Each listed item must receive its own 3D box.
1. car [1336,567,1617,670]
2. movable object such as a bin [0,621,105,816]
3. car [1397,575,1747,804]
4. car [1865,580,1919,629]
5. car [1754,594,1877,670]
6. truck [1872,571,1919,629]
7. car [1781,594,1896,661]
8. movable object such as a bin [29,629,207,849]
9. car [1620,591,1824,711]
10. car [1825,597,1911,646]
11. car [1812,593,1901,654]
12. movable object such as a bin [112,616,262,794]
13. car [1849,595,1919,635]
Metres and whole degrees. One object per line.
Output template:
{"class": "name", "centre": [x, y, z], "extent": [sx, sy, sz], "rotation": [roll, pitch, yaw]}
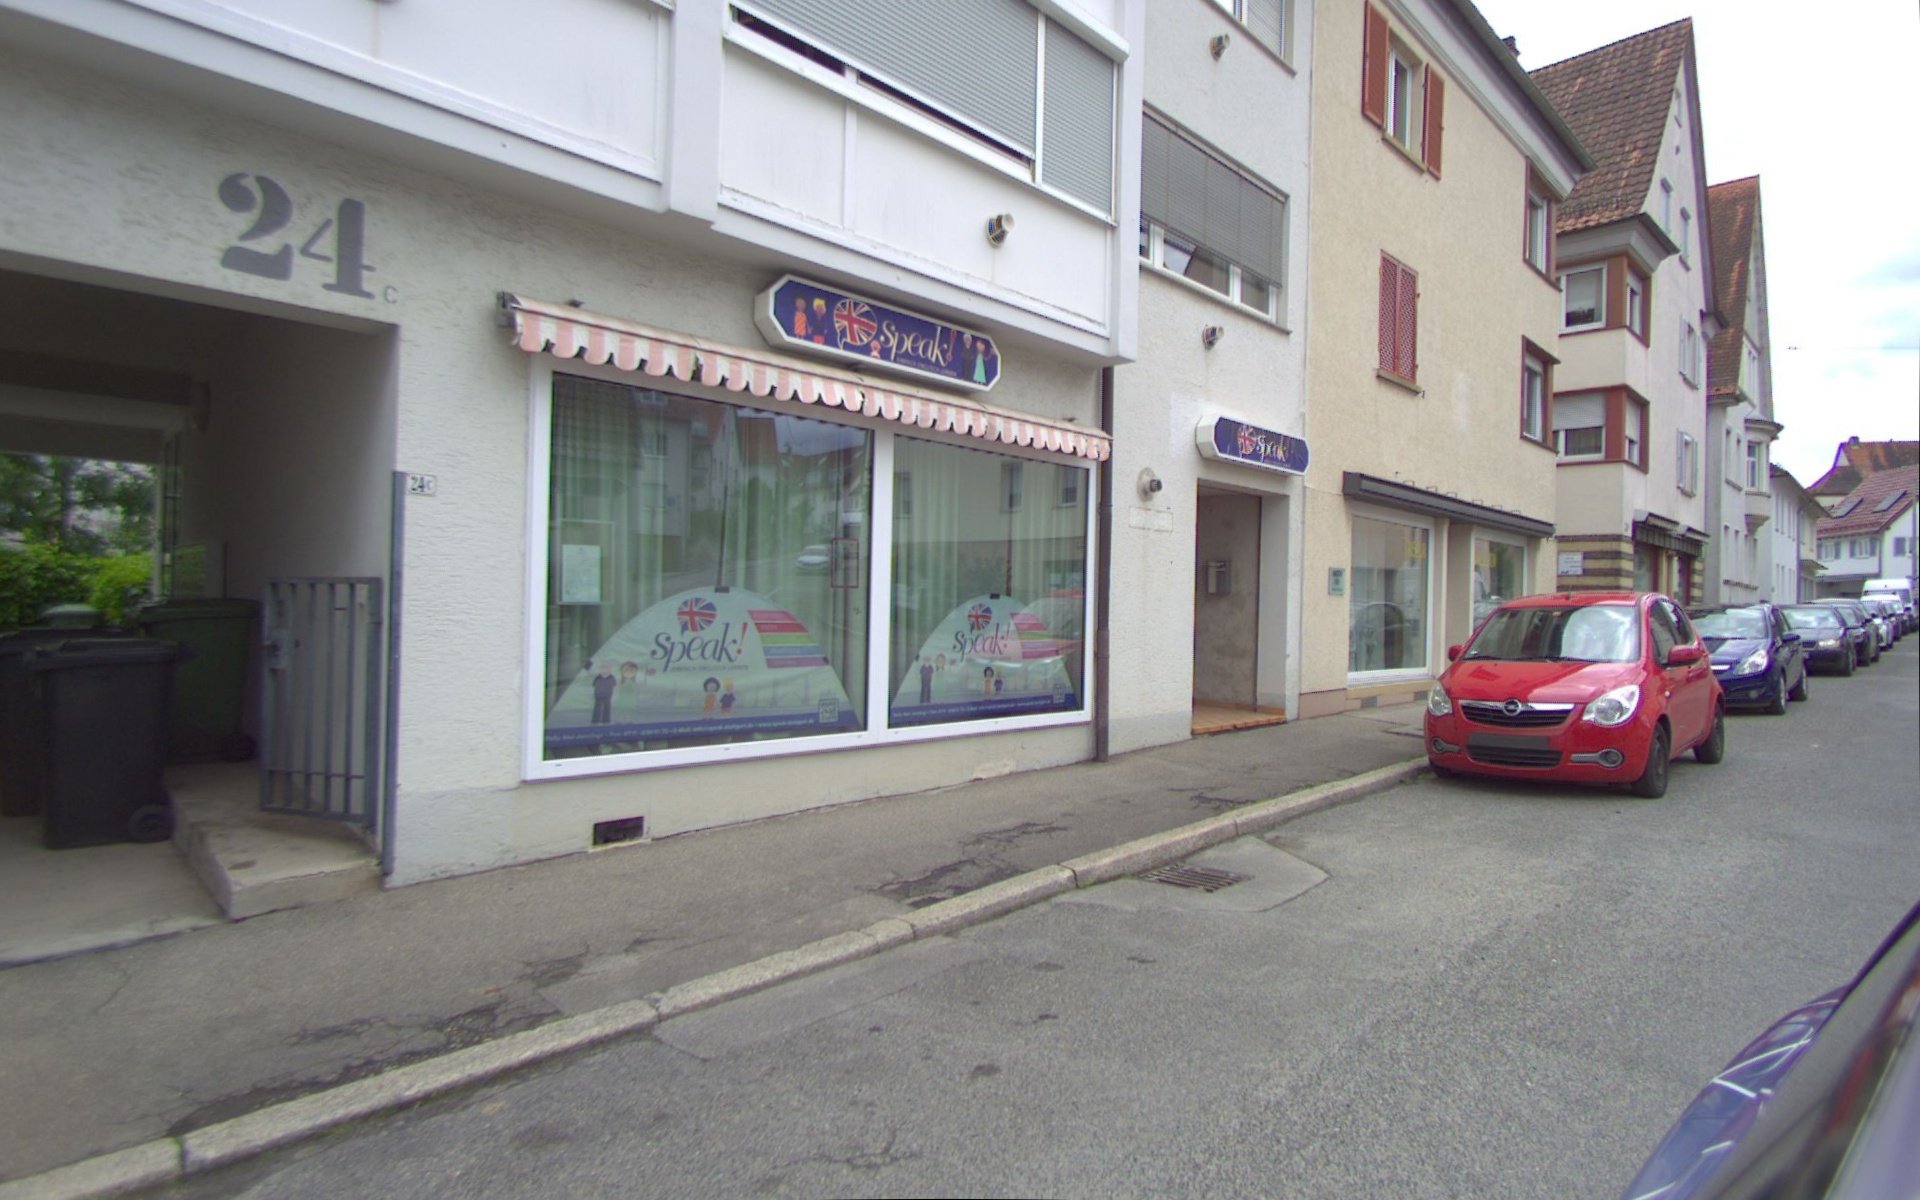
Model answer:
{"class": "car", "centre": [10.817, 0.466, 21.525], "extent": [1.920, 1.890, 4.888], "rotation": [0, -3, -43]}
{"class": "movable object such as a bin", "centre": [-5.399, 0.669, 5.954], "extent": [0.524, 1.054, 0.556], "rotation": [1, 1, -42]}
{"class": "car", "centre": [5.474, 0.637, 8.878], "extent": [3.634, 1.576, 1.692], "rotation": [0, -2, -44]}
{"class": "car", "centre": [41.658, 0.213, 44.983], "extent": [4.025, 2.030, 1.693], "rotation": [0, -3, -43]}
{"class": "car", "centre": [17.817, 0.624, 21.022], "extent": [1.691, 1.422, 3.938], "rotation": [-3, -2, 44]}
{"class": "truck", "centre": [45.505, -0.022, 48.755], "extent": [4.700, 2.629, 1.822], "rotation": [0, -3, -43]}
{"class": "car", "centre": [21.379, 0.647, 24.577], "extent": [4.036, 1.469, 1.692], "rotation": [0, -3, -44]}
{"class": "movable object such as a bin", "centre": [-4.588, 0.709, 5.533], "extent": [0.692, 1.054, 0.666], "rotation": [1, 1, -41]}
{"class": "car", "centre": [10.936, 0.660, 14.422], "extent": [3.855, 1.469, 1.692], "rotation": [0, -3, -44]}
{"class": "car", "centre": [28.579, 0.668, 31.819], "extent": [3.738, 1.408, 1.692], "rotation": [0, -3, -44]}
{"class": "car", "centre": [24.955, 0.628, 28.246], "extent": [1.689, 1.539, 4.043], "rotation": [-4, -3, 41]}
{"class": "movable object such as a bin", "centre": [-5.111, 0.651, 6.691], "extent": [0.717, 1.054, 0.666], "rotation": [1, 1, -42]}
{"class": "car", "centre": [35.548, 0.561, 38.890], "extent": [3.651, 1.408, 1.693], "rotation": [0, -3, -43]}
